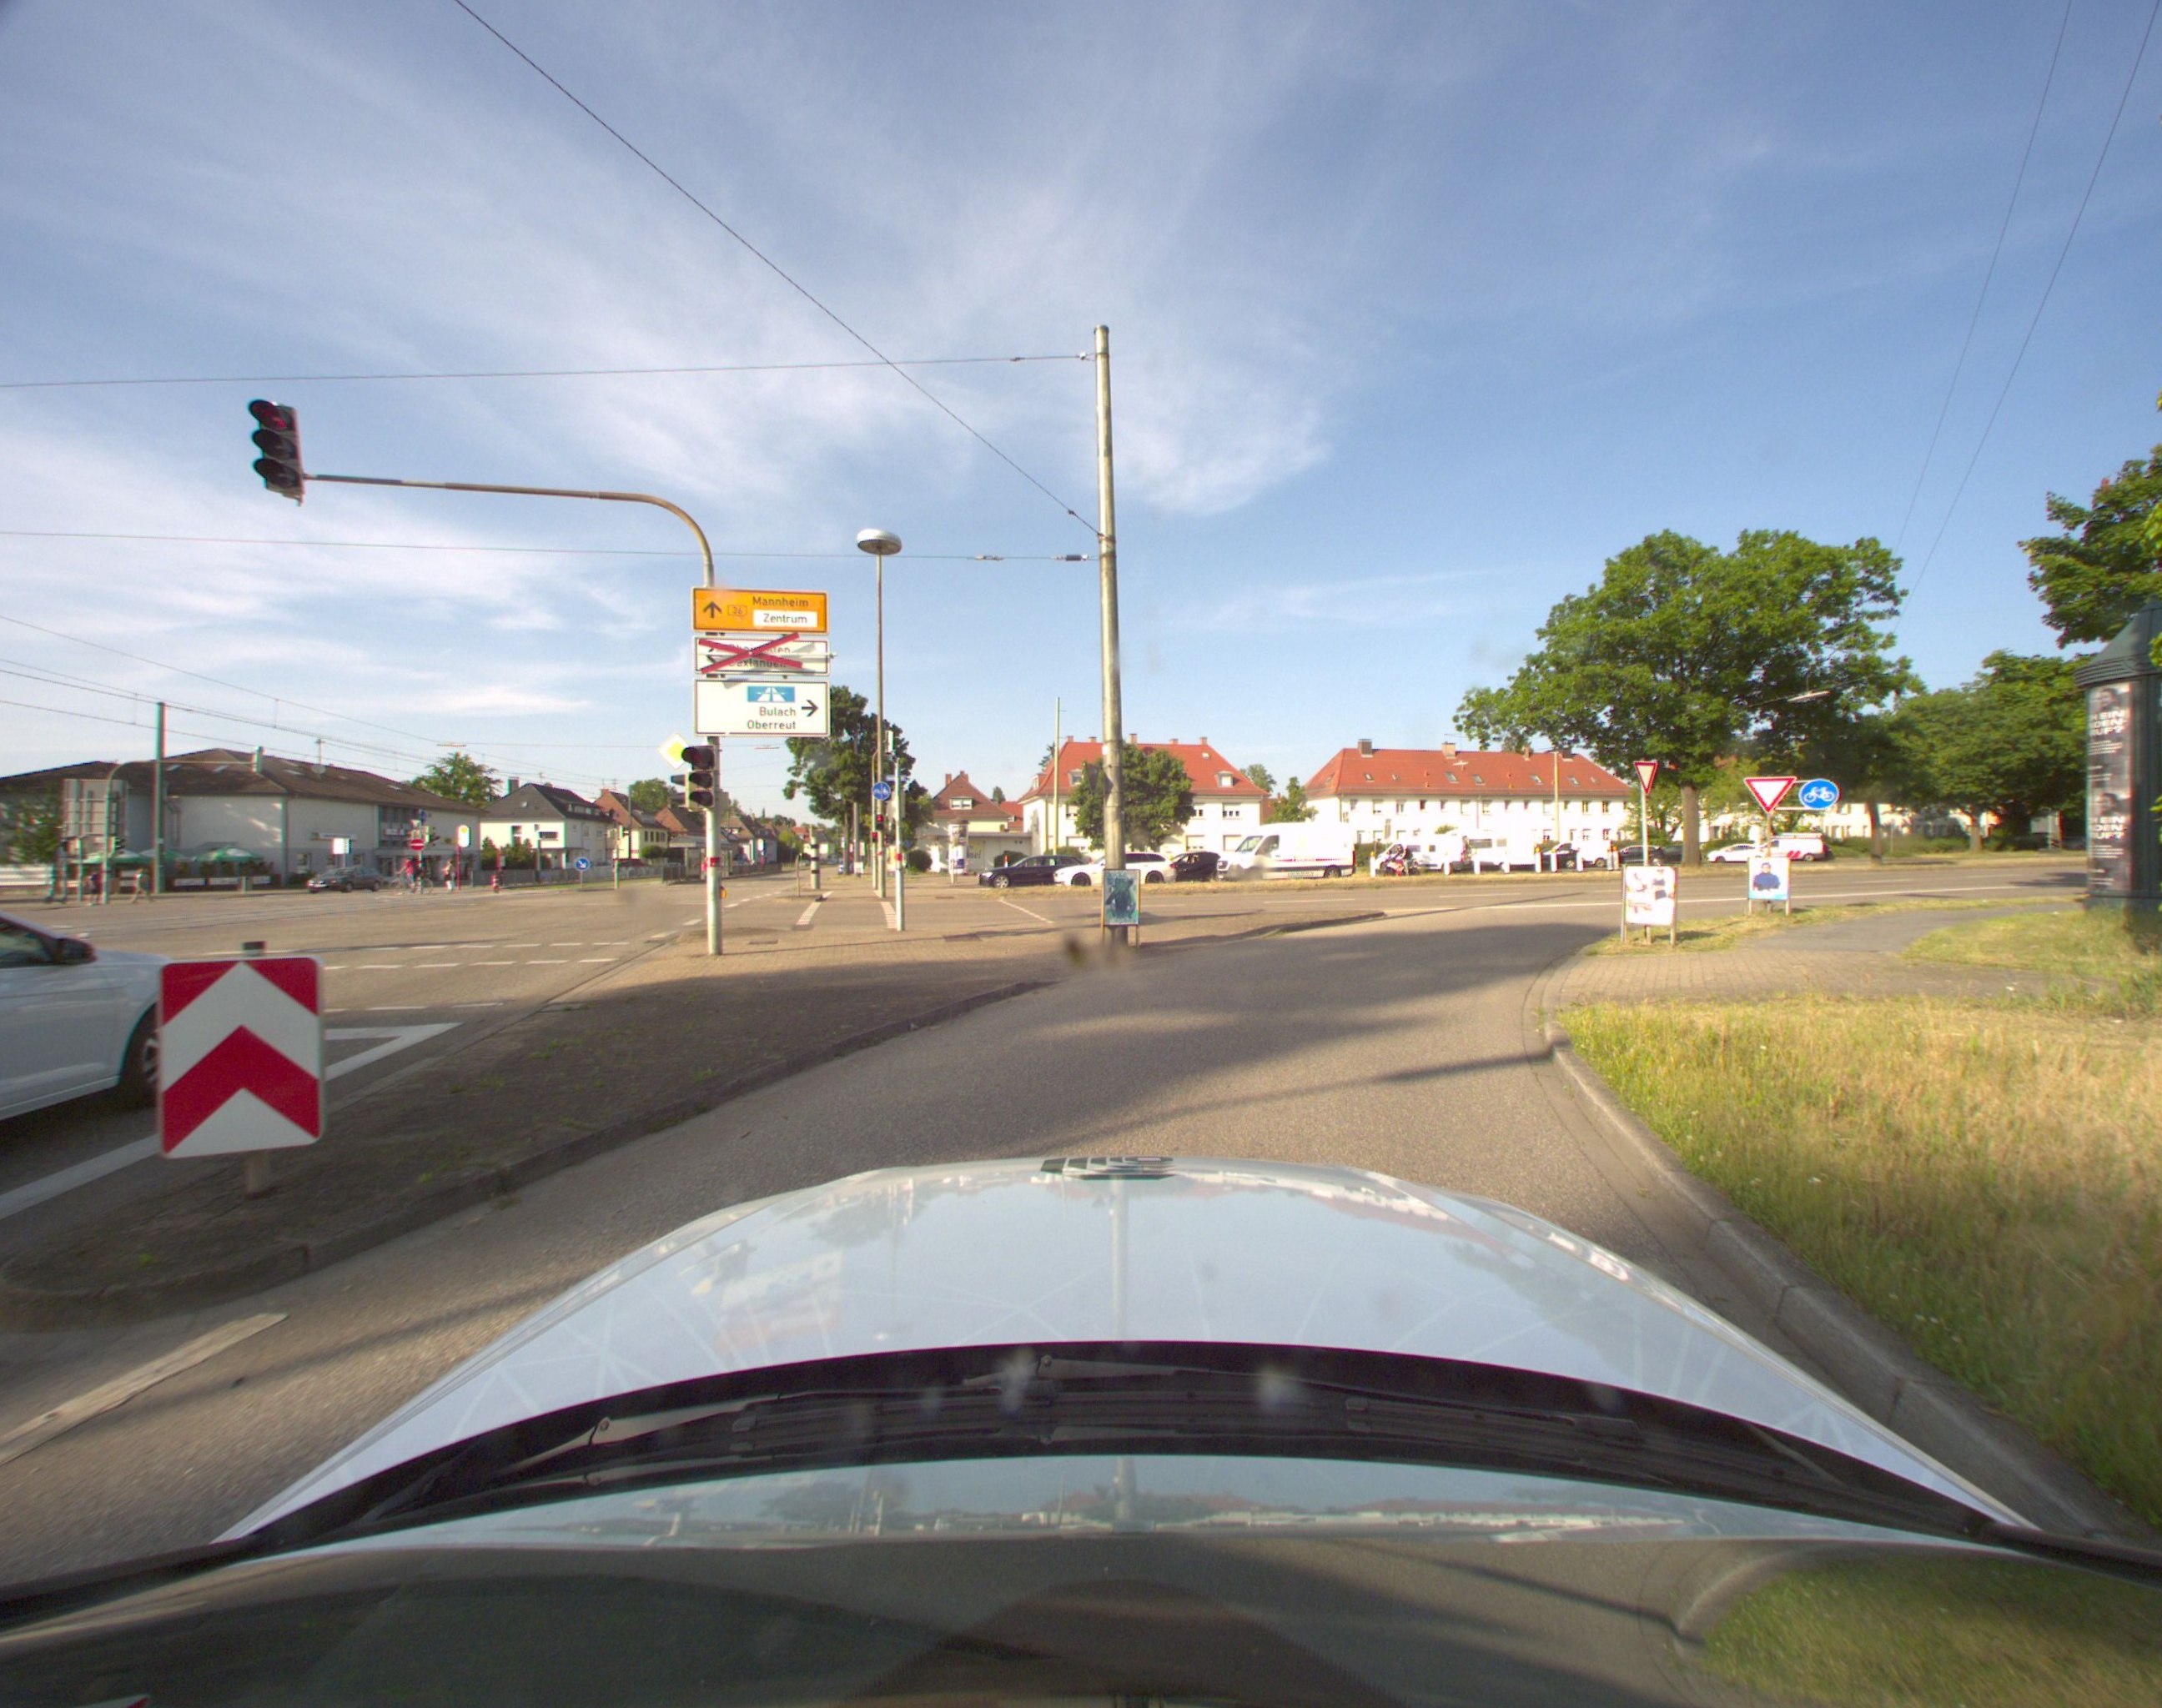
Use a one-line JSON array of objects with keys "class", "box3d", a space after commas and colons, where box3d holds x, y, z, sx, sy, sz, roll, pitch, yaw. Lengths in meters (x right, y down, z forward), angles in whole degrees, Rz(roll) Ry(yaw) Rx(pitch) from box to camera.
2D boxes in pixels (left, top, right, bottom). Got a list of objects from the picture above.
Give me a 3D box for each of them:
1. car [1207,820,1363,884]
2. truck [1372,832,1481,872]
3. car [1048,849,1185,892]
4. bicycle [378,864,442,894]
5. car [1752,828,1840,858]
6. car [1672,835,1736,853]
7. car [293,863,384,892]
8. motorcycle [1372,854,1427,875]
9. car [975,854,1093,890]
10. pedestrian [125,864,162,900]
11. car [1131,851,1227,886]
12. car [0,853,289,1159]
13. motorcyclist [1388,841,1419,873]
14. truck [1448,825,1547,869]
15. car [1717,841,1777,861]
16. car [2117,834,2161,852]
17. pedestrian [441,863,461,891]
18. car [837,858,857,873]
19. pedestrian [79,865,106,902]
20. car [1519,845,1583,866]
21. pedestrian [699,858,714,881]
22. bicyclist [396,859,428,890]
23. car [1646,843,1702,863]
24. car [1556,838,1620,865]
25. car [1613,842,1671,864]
[{"class": "car", "box3d": [8.622, -0.108, 34.415, 6.219, 2.583, 1.990, -1, 0, -15]}, {"class": "truck", "box3d": [22.949, -0.162, 54.299, 6.276, 2.524, 2.292, 0, 0, 40]}, {"class": "car", "box3d": [1.397, 0.617, 32.325, 5.103, 1.563, 1.831, -1, 0, -15]}, {"class": "bicycle", "box3d": [-31.573, 1.171, 38.381, 2.084, 1.348, 1.099, 1, -2, -25]}, {"class": "car", "box3d": [56.898, -0.822, 64.969, 4.916, 2.232, 2.012, -1, 0, 29]}, {"class": "car", "box3d": [63.425, -0.978, 83.052, 1.997, 1.719, 4.953, -1, 0, -16]}, {"class": "car", "box3d": [-42.668, 1.327, 46.963, 1.997, 1.508, 4.583, -1, 0, -16]}, {"class": "motorcycle", "box3d": [13.673, 0.449, 34.980, 2.276, 0.866, 0.687, -1, 0, -17]}, {"class": "car", "box3d": [-2.045, 0.730, 35.086, 4.832, 1.411, 1.707, -1, 0, -15]}, {"class": "pedestrian", "box3d": [-43.114, 1.279, 37.456, 0.748, 1.599, 0.809, -1, 0, -13]}, {"class": "car", "box3d": [4.403, 0.623, 36.803, 3.993, 1.453, 1.707, -1, 0, -15]}, {"class": "car", "box3d": [-5.916, 0.734, 3.643, 1.659, 1.443, 3.992, -1, 0, -16]}, {"class": "motorcyclist", "box3d": [13.871, 0.140, 35.037, 1.068, 1.352, 0.676, -1, 0, -16]}, {"class": "truck", "box3d": [28.796, -0.422, 56.438, 6.002, 2.854, 1.908, -1, 0, 28]}, {"class": "car", "box3d": [51.274, -0.221, 62.772, 3.388, 1.514, 1.908, -1, 0, 33]}, {"class": "car", "box3d": [103.332, -1.068, 78.098, 4.482, 1.723, 2.013, -1, 0, 31]}, {"class": "pedestrian", "box3d": [-32.052, 1.181, 41.440, 0.578, 1.431, 0.545, 1, -2, -12]}, {"class": "car", "box3d": [-21.689, 1.079, 75.682, 1.677, 1.398, 3.980, 1, -1, -14]}, {"class": "pedestrian", "box3d": [-43.148, 1.297, 35.559, 0.513, 1.599, 0.537, -1, 0, -15]}, {"class": "car", "box3d": [34.014, 0.122, 59.015, 3.861, 1.456, 1.907, -1, 0, 26]}, {"class": "pedestrian", "box3d": [-24.742, 1.039, 53.806, 0.754, 1.499, 0.823, 1, -2, -13]}, {"class": "bicyclist", "box3d": [-31.526, 0.982, 38.398, 0.888, 1.431, 1.127, 1, -2, -24]}, {"class": "car", "box3d": [46.151, -0.090, 63.420, 3.388, 1.514, 1.908, -1, 0, 33]}, {"class": "car", "box3d": [37.245, -0.172, 59.914, 3.859, 1.920, 1.908, -1, 0, 29]}, {"class": "car", "box3d": [41.274, -0.056, 60.014, 3.454, 1.514, 1.908, -1, 0, 33]}]
